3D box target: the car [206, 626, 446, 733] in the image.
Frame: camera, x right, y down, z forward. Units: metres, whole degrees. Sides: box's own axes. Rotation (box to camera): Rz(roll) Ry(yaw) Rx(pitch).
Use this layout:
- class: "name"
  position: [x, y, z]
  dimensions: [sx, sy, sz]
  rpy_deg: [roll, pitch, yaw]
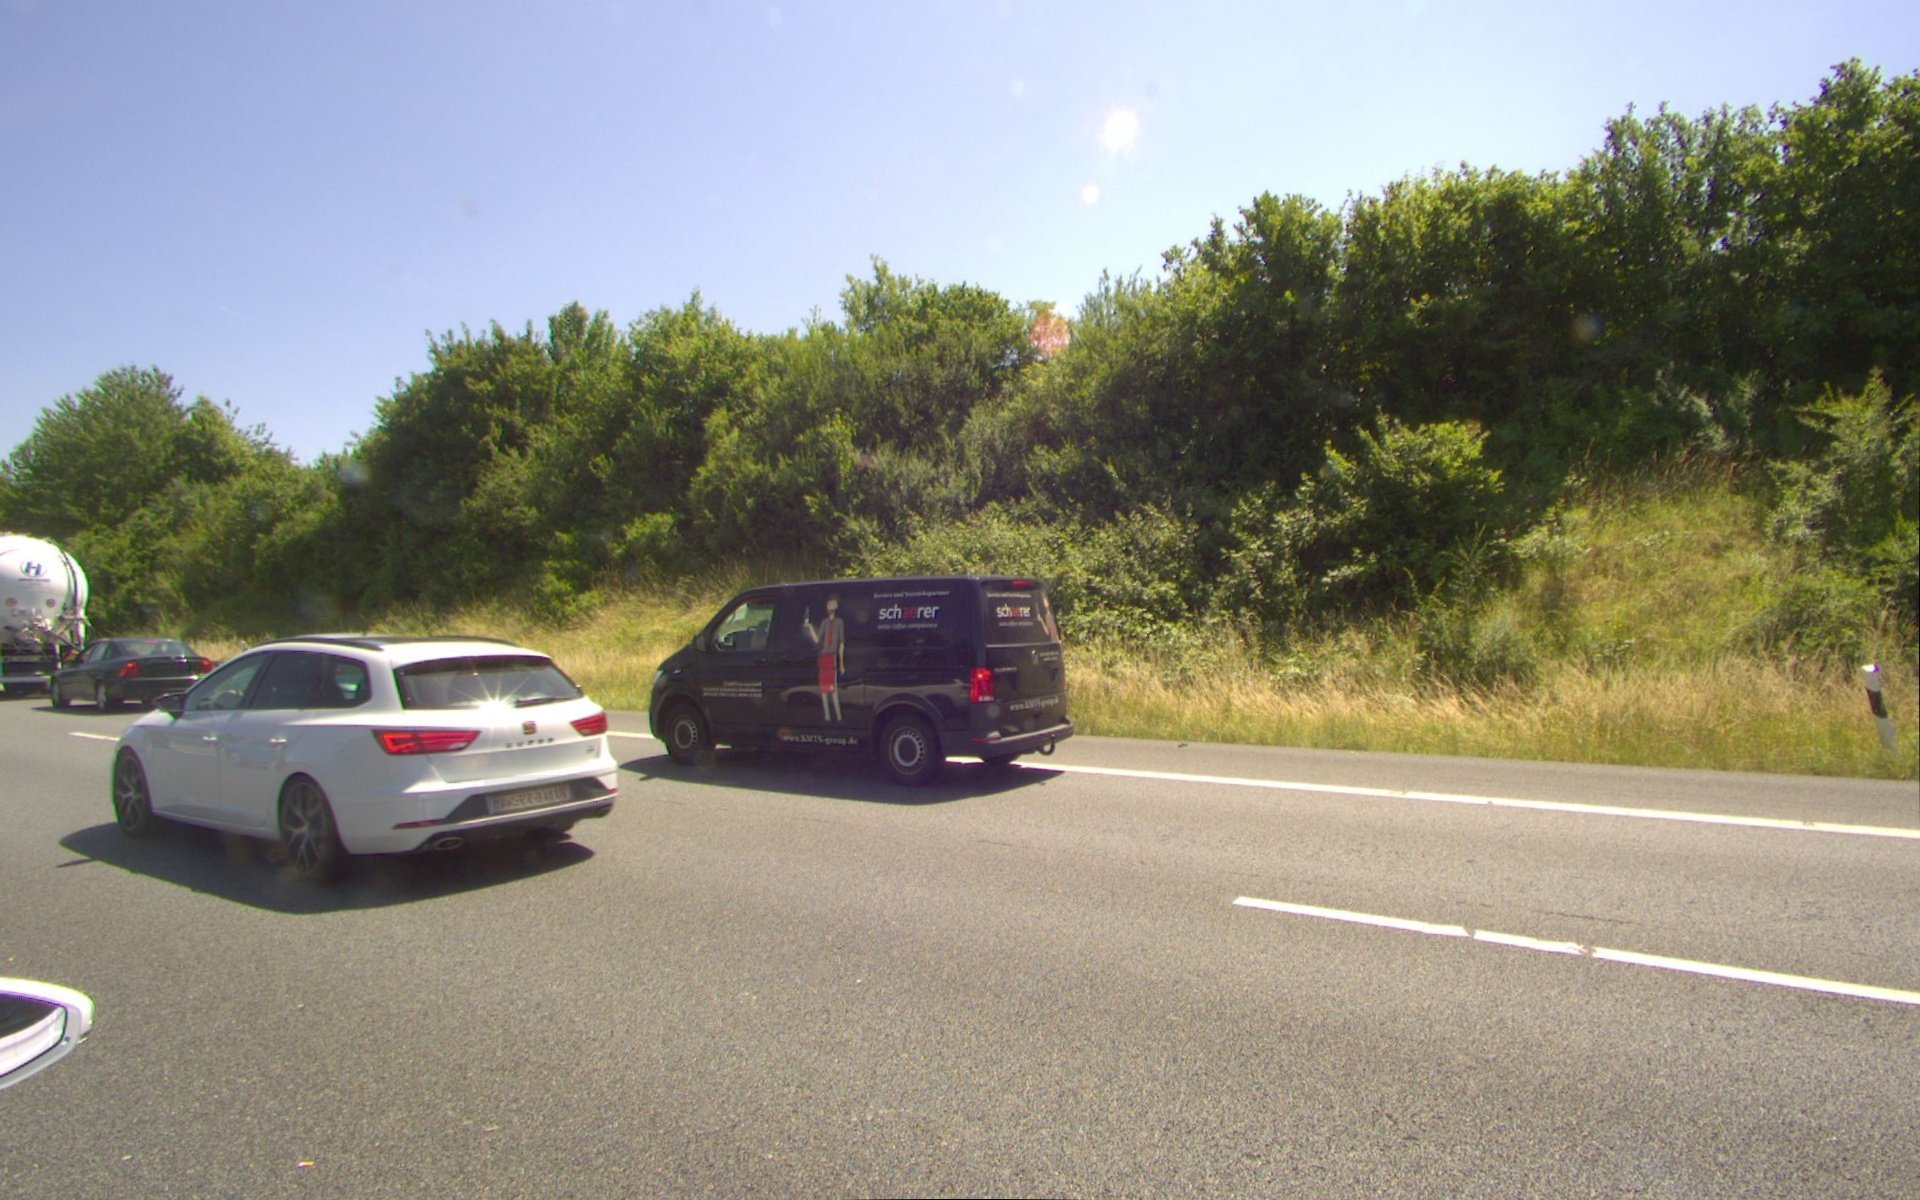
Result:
- class: "car"
  position: [-10.147, 1.177, 15.959]
  dimensions: [3.971, 1.462, 1.727]
  rpy_deg: [0, 0, 33]

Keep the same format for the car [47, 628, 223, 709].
- class: "car"
  position: [-16.631, 1.344, 20.142]
  dimensions: [3.934, 1.435, 1.637]
  rpy_deg: [-2, 0, 34]

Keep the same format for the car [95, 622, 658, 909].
- class: "car"
  position: [-4.254, 0.938, 7.084]
  dimensions: [4.254, 1.462, 1.743]
  rpy_deg: [-2, -1, 34]

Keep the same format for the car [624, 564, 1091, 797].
- class: "car"
  position: [-1.206, 0.763, 10.595]
  dimensions: [4.790, 1.965, 1.909]
  rpy_deg: [-2, -1, 34]

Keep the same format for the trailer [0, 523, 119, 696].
- class: "trailer"
  position: [-25.953, 0.326, 26.209]
  dimensions: [11.323, 3.895, 2.755]
  rpy_deg: [-1, -1, 32]
